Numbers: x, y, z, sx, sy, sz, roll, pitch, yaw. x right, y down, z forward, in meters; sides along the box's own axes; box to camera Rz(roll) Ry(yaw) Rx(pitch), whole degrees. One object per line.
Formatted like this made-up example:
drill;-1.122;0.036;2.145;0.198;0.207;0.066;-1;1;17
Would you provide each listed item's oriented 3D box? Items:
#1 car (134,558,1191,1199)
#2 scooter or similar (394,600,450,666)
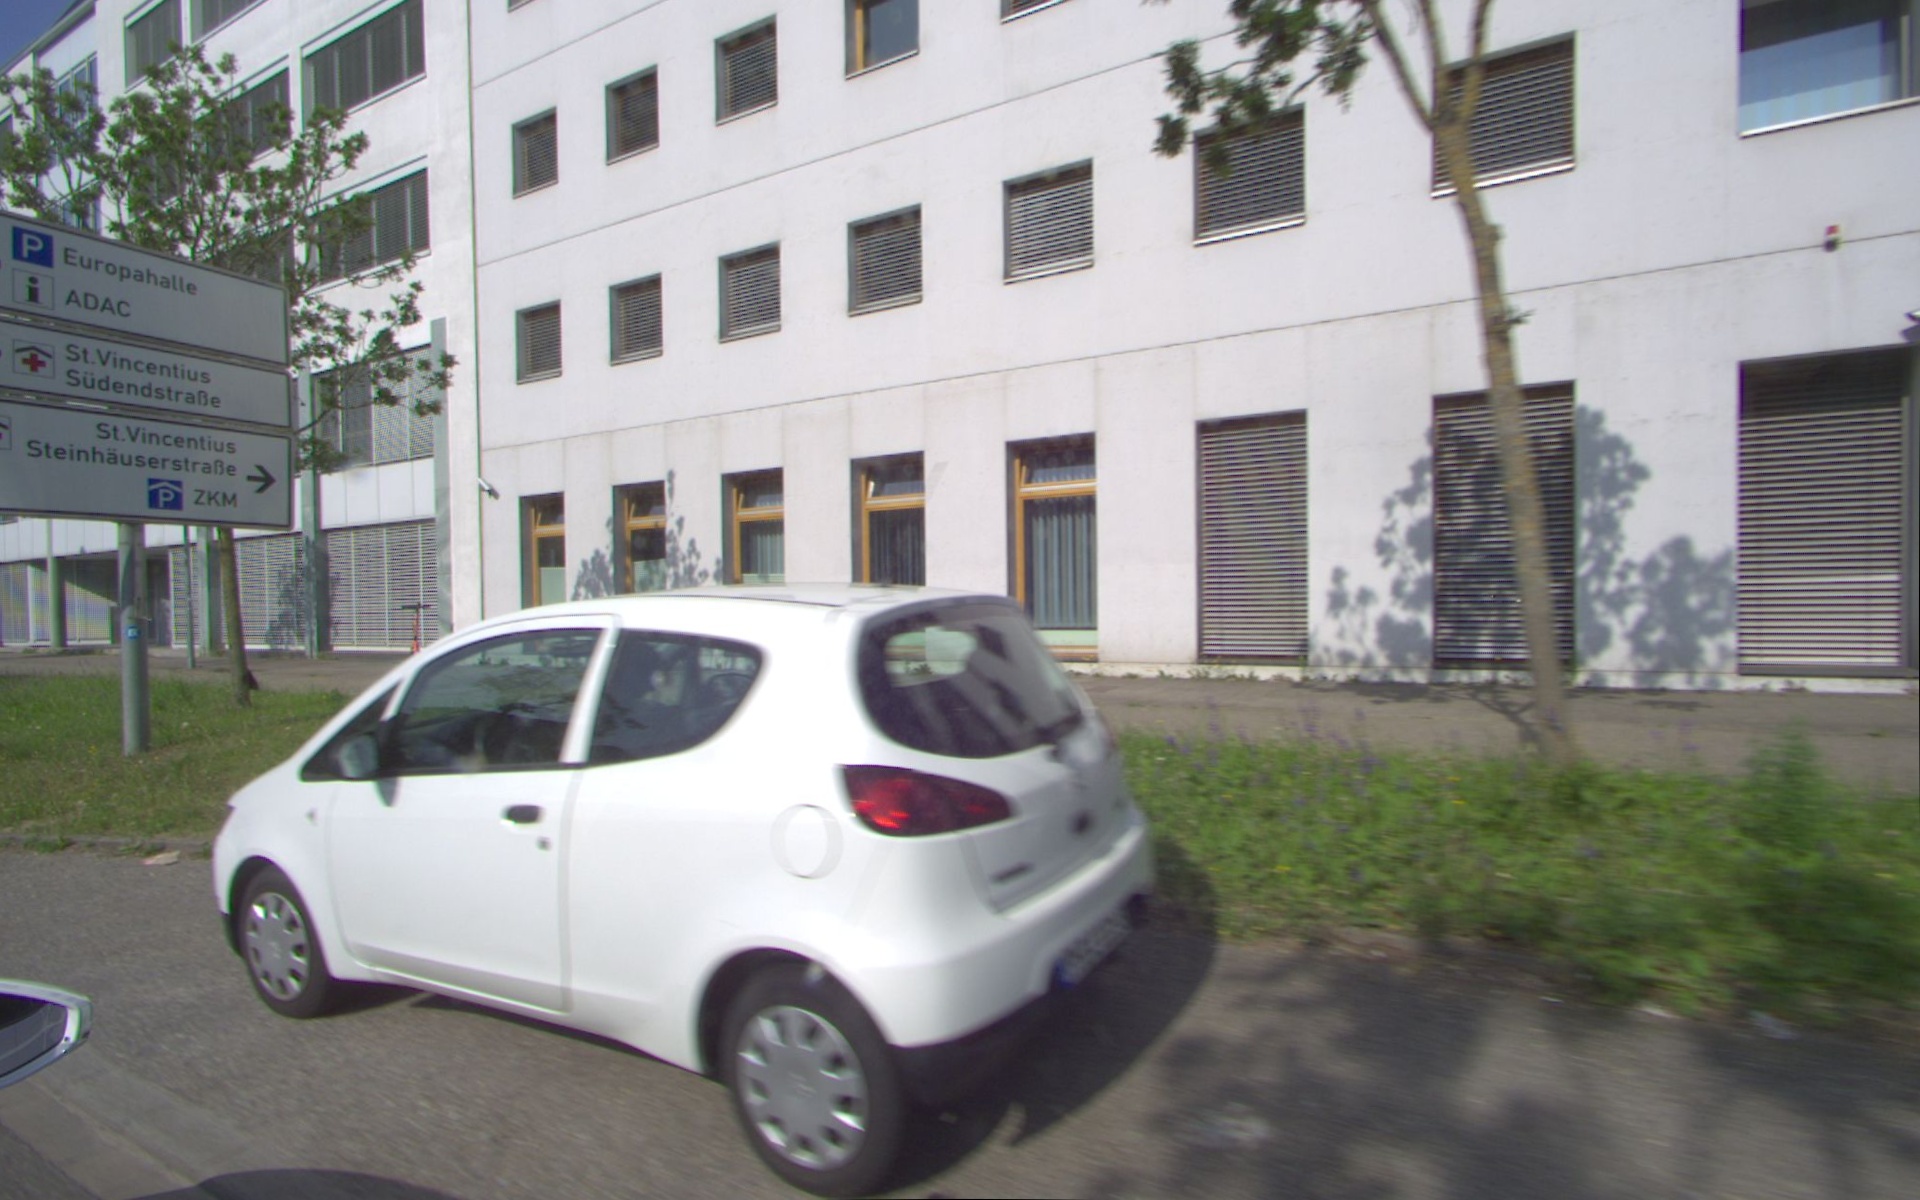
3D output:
car;-1.236;0.685;3.815;3.793;1.547;1.685;-1;2;30
scooter or similar;-10.532;0.632;19.603;1.238;1.230;0.460;0;2;37
